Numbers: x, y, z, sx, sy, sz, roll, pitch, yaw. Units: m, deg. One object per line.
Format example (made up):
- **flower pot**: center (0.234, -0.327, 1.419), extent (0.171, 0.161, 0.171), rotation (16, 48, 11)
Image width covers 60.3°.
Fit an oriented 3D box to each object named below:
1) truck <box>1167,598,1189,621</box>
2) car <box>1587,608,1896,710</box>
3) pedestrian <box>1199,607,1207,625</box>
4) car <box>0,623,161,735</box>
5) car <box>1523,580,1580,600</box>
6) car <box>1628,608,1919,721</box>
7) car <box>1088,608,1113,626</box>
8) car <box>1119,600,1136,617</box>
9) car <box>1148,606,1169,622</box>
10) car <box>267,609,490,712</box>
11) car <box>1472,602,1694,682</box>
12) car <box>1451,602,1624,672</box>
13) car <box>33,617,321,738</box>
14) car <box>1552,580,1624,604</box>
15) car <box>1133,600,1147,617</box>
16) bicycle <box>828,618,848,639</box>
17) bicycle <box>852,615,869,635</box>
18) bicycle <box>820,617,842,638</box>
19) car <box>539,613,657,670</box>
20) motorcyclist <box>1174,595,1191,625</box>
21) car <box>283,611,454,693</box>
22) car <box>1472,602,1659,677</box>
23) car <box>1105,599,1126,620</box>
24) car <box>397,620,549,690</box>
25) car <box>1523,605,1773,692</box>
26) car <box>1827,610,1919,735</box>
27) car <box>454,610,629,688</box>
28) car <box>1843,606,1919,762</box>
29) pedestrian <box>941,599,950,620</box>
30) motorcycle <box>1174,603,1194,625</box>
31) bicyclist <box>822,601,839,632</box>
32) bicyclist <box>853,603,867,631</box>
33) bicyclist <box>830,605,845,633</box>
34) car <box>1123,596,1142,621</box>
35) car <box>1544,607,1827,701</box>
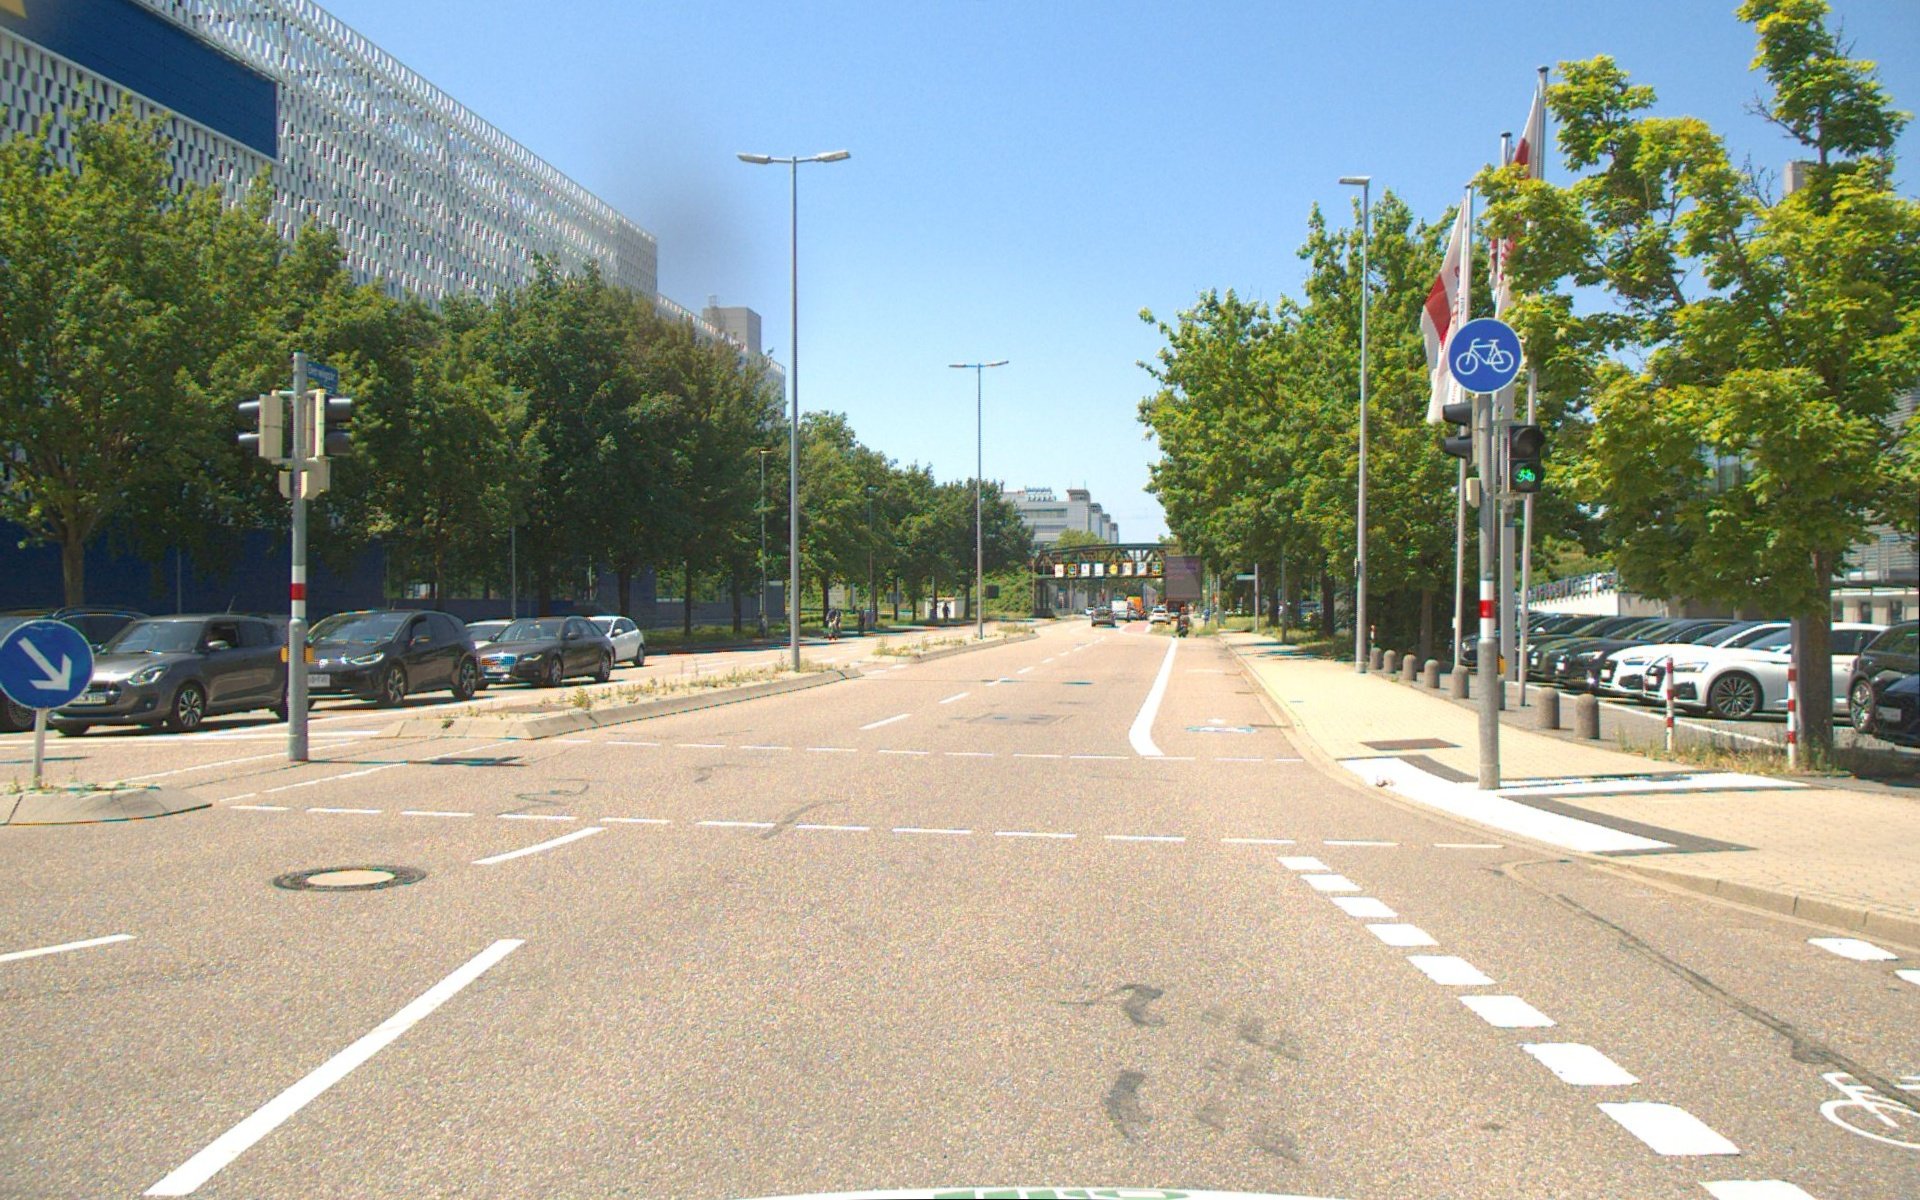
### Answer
- **truck**: center (24.843, 1.081, 188.383), extent (2.406, 2.452, 7.139), rotation (2, 0, 8)
- **car**: center (12.259, 0.900, 26.179), extent (4.012, 1.372, 1.870), rotation (2, 0, 8)
- **pedestrian**: center (18.936, 1.266, 128.955), extent (0.610, 1.398, 0.565), rotation (0, 0, 6)
- **car**: center (-13.111, 1.059, 23.012), extent (1.625, 1.449, 4.041), rotation (-1, -1, 7)
- **car**: center (40.830, -0.712, 114.201), extent (3.449, 1.261, 1.611), rotation (2, 0, 6)
- **car**: center (11.853, 0.892, 23.492), extent (4.009, 1.388, 1.876), rotation (2, 0, 8)
- **car**: center (11.209, 1.325, 131.659), extent (1.860, 1.400, 4.234), rotation (0, 0, 7)
- **car**: center (18.649, 0.904, 183.984), extent (1.854, 1.847, 4.003), rotation (0, 0, 7)
- **car**: center (17.986, 1.287, 149.996), extent (1.883, 1.445, 4.003), rotation (0, 0, 7)
- **car**: center (-9.589, 0.961, 27.654), extent (1.690, 1.531, 4.246), rotation (-2, -1, 8)
- **car**: center (13.028, 0.854, 34.791), extent (4.014, 1.478, 1.870), rotation (2, 0, 8)
- **car**: center (13.876, 0.872, 39.926), extent (3.603, 1.478, 1.835), rotation (2, 0, 8)
- **car**: center (-10.163, 0.956, 21.776), extent (1.609, 1.413, 3.718), rotation (-2, -1, 8)
- **car**: center (39.829, -0.504, 104.904), extent (3.903, 1.334, 1.798), rotation (2, 0, 3)
- **car**: center (22.891, 1.081, 210.393), extent (1.714, 2.049, 3.874), rotation (0, 0, 7)
- **bicycle**: center (-7.039, 1.641, 95.400), extent (0.624, 1.153, 1.972), rotation (0, 0, 11)
- **bicycle**: center (-6.032, 1.506, 100.334), extent (0.615, 1.179, 2.119), rotation (-2, -1, 7)
- **bicycle**: center (-7.167, 1.502, 91.892), extent (0.723, 1.145, 2.436), rotation (0, 0, 8)
- **car**: center (-10.198, 1.151, 46.899), extent (1.689, 1.471, 4.455), rotation (-2, -1, 9)
- **motorcyclist**: center (11.604, 0.528, 86.403), extent (0.705, 1.556, 0.870), rotation (1, -1, -2)
- **car**: center (-11.984, 1.027, 33.777), extent (1.690, 1.571, 3.918), rotation (-1, -1, 7)
- **car**: center (13.582, 0.865, 37.267), extent (3.603, 1.478, 1.835), rotation (2, 0, 8)
- **car**: center (15.064, 0.915, 160.094), extent (1.951, 2.049, 4.003), rotation (0, 0, 7)
- **car**: center (-11.342, 1.252, 38.869), extent (1.709, 1.447, 4.627), rotation (-2, 0, 7)
- **car**: center (13.014, 0.898, 31.502), extent (4.014, 1.429, 1.870), rotation (2, 0, 8)
- **car**: center (12.118, 0.876, 19.642), extent (1.823, 1.444, 4.666), rotation (2, 0, 10)
- **car**: center (-8.635, 0.980, 34.577), extent (1.689, 1.471, 4.723), rotation (-2, -1, 10)
- **car**: center (10.859, 0.844, 15.630), extent (4.009, 1.414, 1.870), rotation (2, 0, 8)
- **pedestrian**: center (-1.316, 0.877, 153.084), extent (0.728, 1.917, 0.578), rotation (0, -1, 8)
- **motorcycle**: center (11.691, 0.748, 86.470), extent (0.702, 1.124, 1.829), rotation (1, 0, -2)
- **bicyclist**: center (-7.175, 0.921, 91.846), extent (0.729, 1.715, 0.953), rotation (0, 0, 9)
- **bicyclist**: center (-6.057, 1.047, 100.247), extent (0.620, 1.657, 1.045), rotation (-2, -1, 7)
- **bicyclist**: center (-7.045, 1.075, 95.387), extent (0.623, 1.610, 0.885), rotation (0, -1, 11)
- **car**: center (20.500, 1.035, 196.470), extent (2.028, 2.904, 6.770), rotation (0, 0, 7)
- **car**: center (12.559, 0.908, 28.860), extent (4.136, 1.414, 1.870), rotation (2, 0, 8)
